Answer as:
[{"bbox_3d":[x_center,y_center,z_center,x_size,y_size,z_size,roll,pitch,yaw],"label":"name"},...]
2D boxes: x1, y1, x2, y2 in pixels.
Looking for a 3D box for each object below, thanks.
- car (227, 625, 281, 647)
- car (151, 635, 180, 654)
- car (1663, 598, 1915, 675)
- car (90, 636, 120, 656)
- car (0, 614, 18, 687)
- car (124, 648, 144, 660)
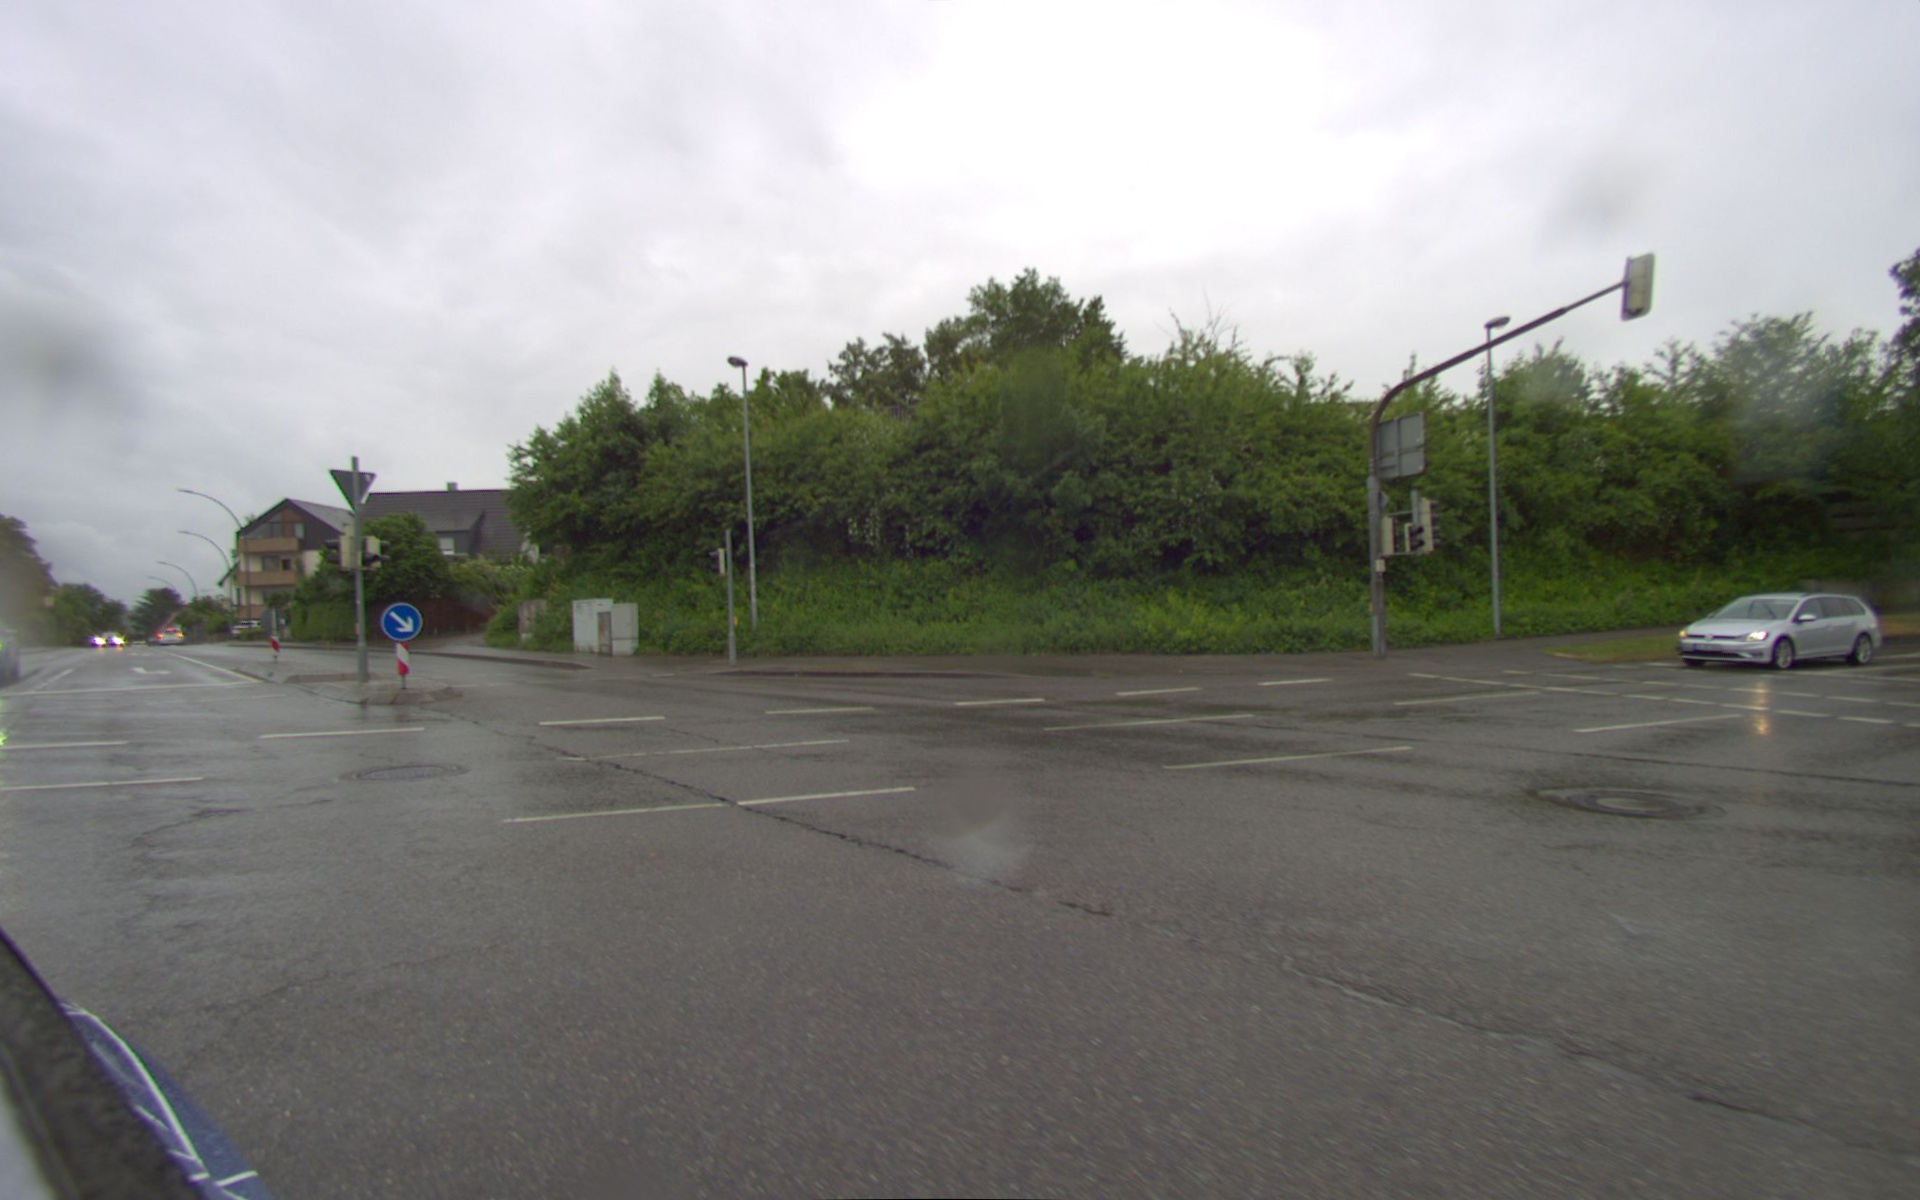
[{"bbox_3d":[-55.192,2.809,79.205,1.641,1.558,4.004,-1,0,-4],"label":"car"},{"bbox_3d":[-68.239,3.816,86.925,1.601,1.516,3.826,1,-2,-43],"label":"car"},{"bbox_3d":[16.551,0.682,20.223,4.454,1.373,1.768,-1,0,-18],"label":"car"},{"bbox_3d":[-73.433,3.916,86.895,1.732,1.568,3.923,-1,0,-43],"label":"car"},{"bbox_3d":[-21.852,1.112,21.982,1.870,1.494,4.006,0,-1,-41],"label":"car"},{"bbox_3d":[-109.082,7.101,133.567,1.645,1.516,4.325,-1,-1,-44],"label":"car"}]
